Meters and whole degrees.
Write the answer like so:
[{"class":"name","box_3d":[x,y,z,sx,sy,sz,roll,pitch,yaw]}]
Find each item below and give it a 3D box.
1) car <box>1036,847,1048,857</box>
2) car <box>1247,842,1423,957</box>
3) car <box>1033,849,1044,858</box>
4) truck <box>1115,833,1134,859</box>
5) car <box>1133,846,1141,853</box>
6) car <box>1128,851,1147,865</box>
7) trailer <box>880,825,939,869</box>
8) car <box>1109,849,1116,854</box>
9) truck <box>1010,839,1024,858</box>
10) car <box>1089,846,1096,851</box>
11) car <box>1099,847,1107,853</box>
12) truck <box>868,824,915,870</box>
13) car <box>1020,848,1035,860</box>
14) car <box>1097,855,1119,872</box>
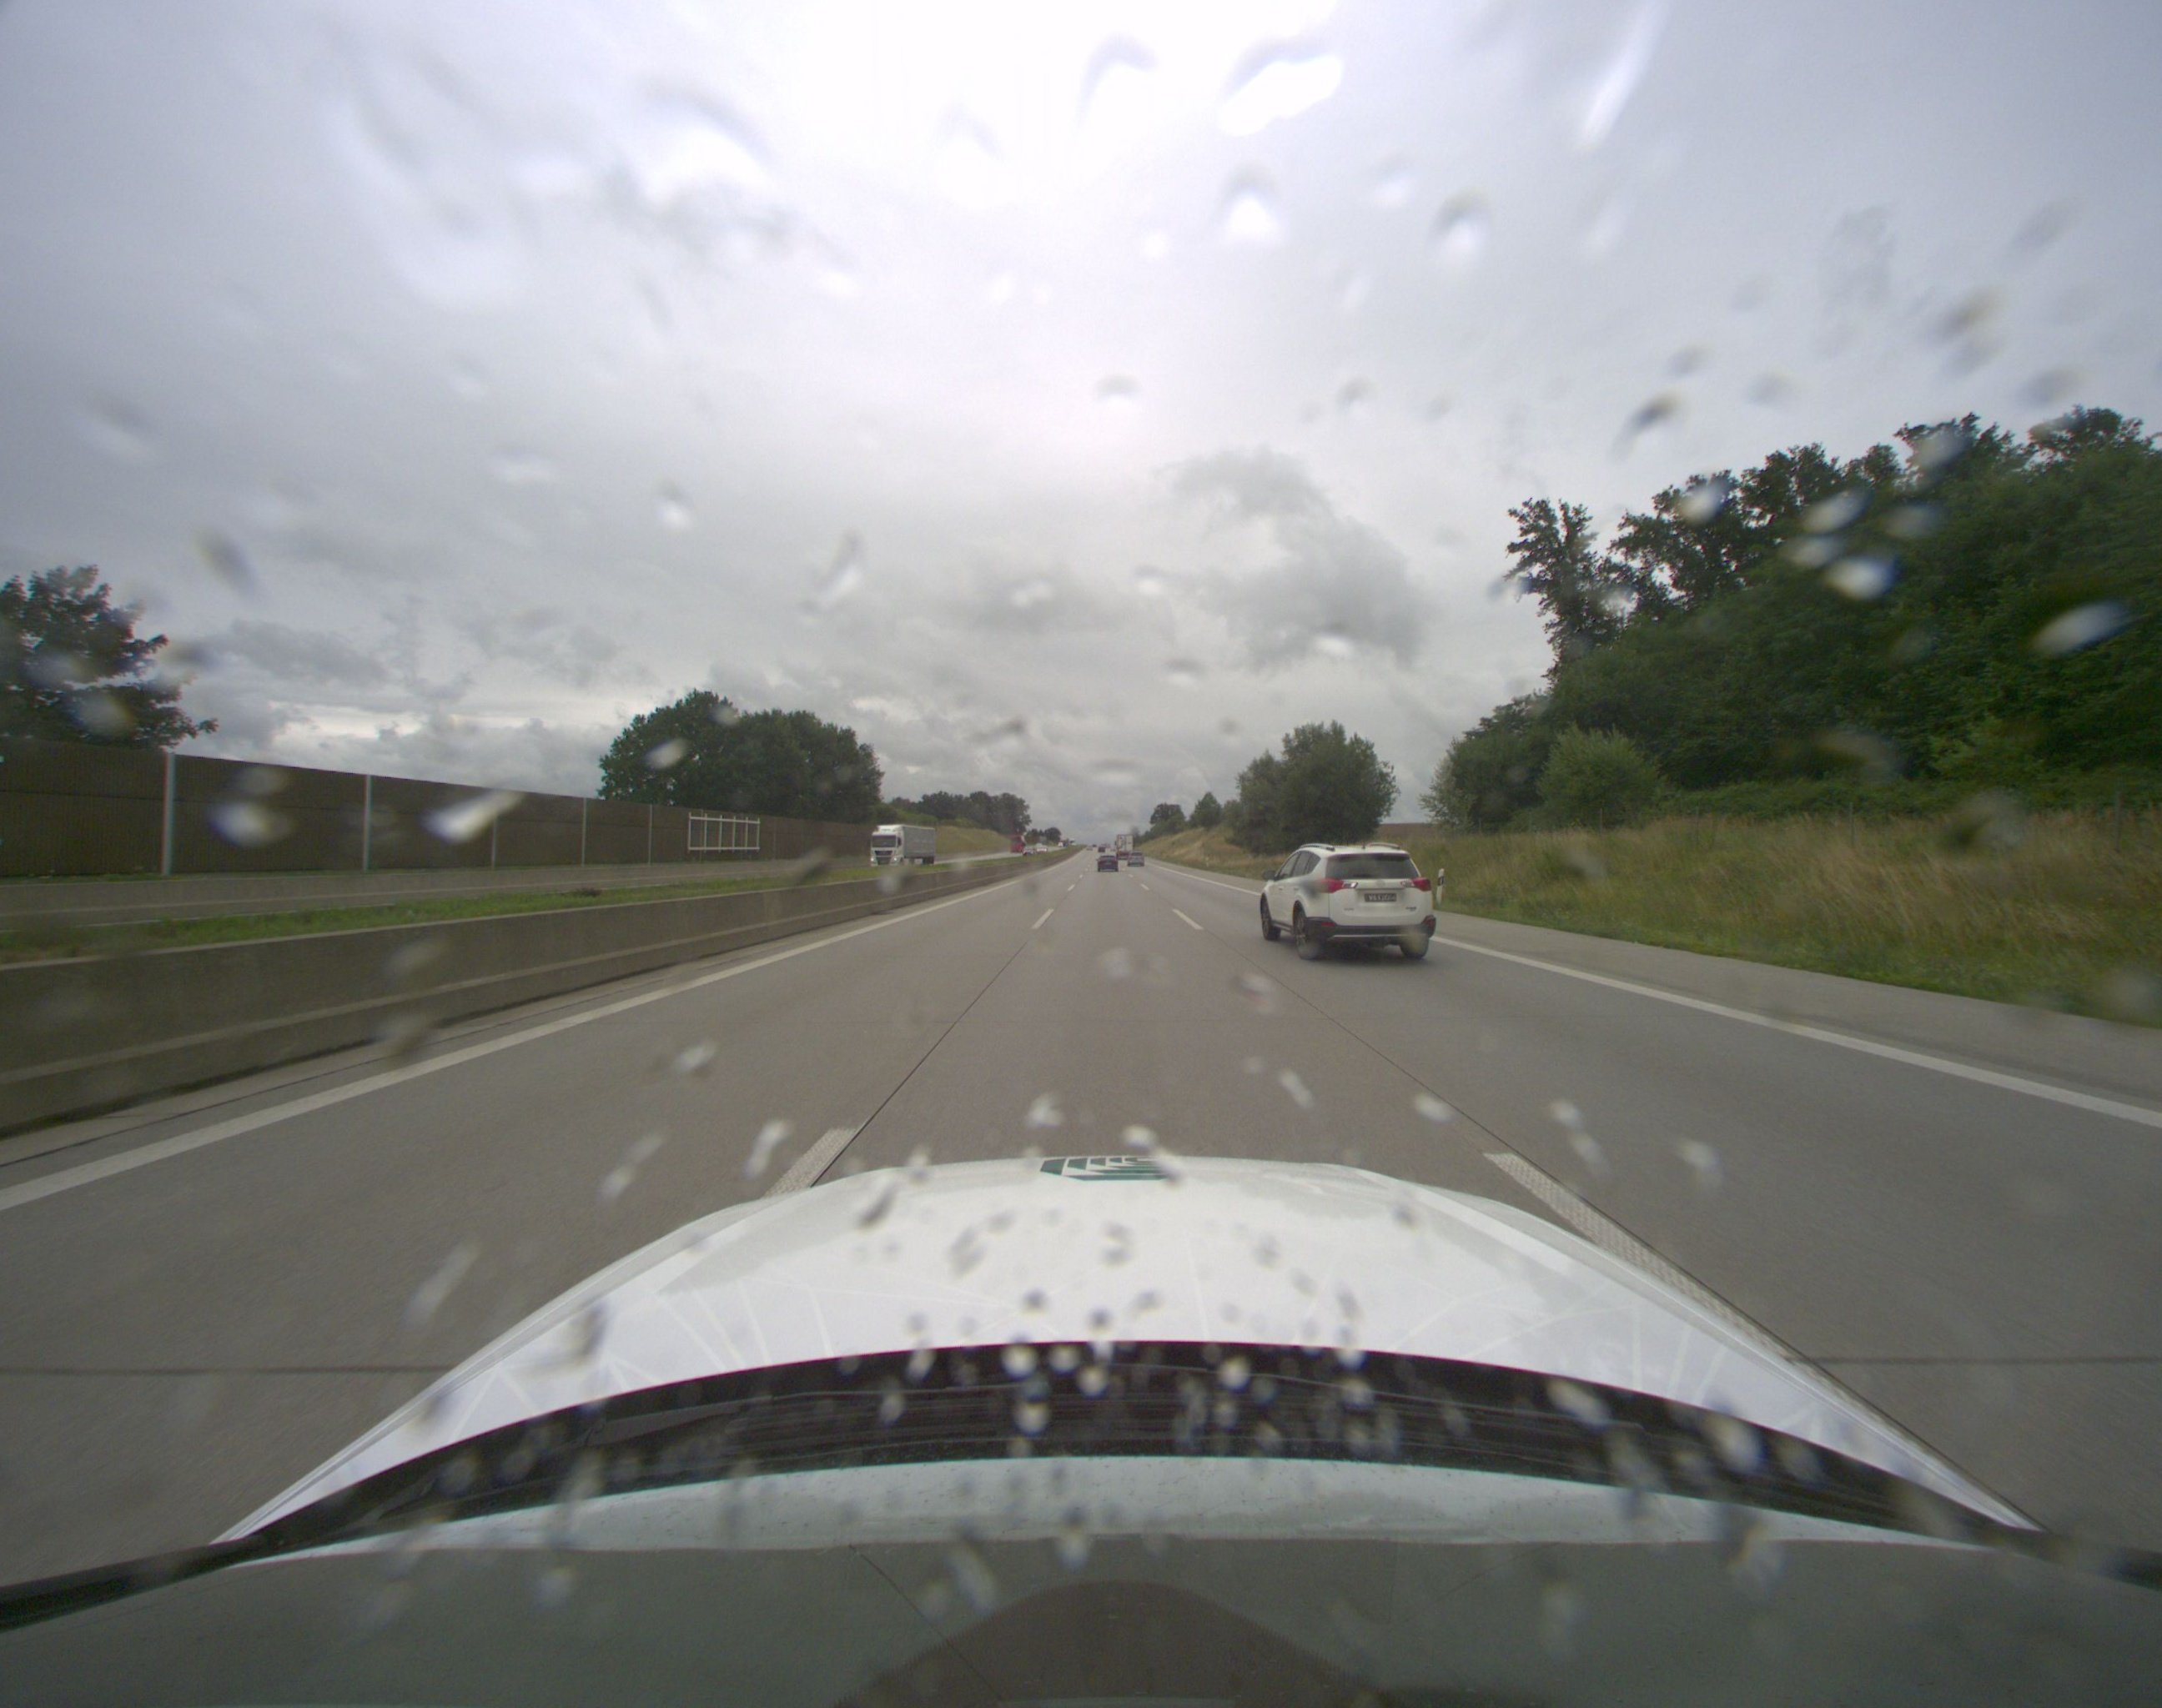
[{"class":"car","box_3d":[-7.638,-0.377,159.255,1.987,1.886,5.513,0,0,1]},{"class":"car","box_3d":[4.097,0.671,13.823,1.819,1.655,3.986,0,0,1]},{"class":"car","box_3d":[-9.856,-0.044,190.038,2.140,2.013,5.752,0,0,3]},{"class":"truck","box_3d":[7.073,-1.238,133.891,3.006,4.180,8.357,0,0,2]},{"class":"car","box_3d":[15.436,-1.277,223.973,1.985,2.014,4.004,0,0,4]},{"class":"car","box_3d":[6.205,0.459,89.817,1.985,1.530,4.004,0,0,3]},{"class":"trailer","box_3d":[-17.133,-0.655,82.544,2.687,4.096,14.008,0,0,1]},{"class":"car","box_3d":[9.511,-0.717,245.586,1.985,1.640,4.004,0,0,4]},{"class":"truck","box_3d":[-14.843,-1.239,188.247,2.543,4.251,7.464,0,0,0]},{"class":"car","box_3d":[3.304,-1.632,241.928,1.940,1.356,4.262,0,0,3]},{"class":"car","box_3d":[5.750,-0.947,210.960,1.927,1.375,4.597,0,-1,3]},{"class":"truck","box_3d":[-17.314,-0.618,74.744,2.673,4.083,6.218,0,0,1]},{"class":"car","box_3d":[-9.225,0.052,140.948,1.986,1.919,5.347,0,1,1]},{"class":"car","box_3d":[2.289,0.821,69.349,1.746,1.398,4.484,0,-1,1]}]
